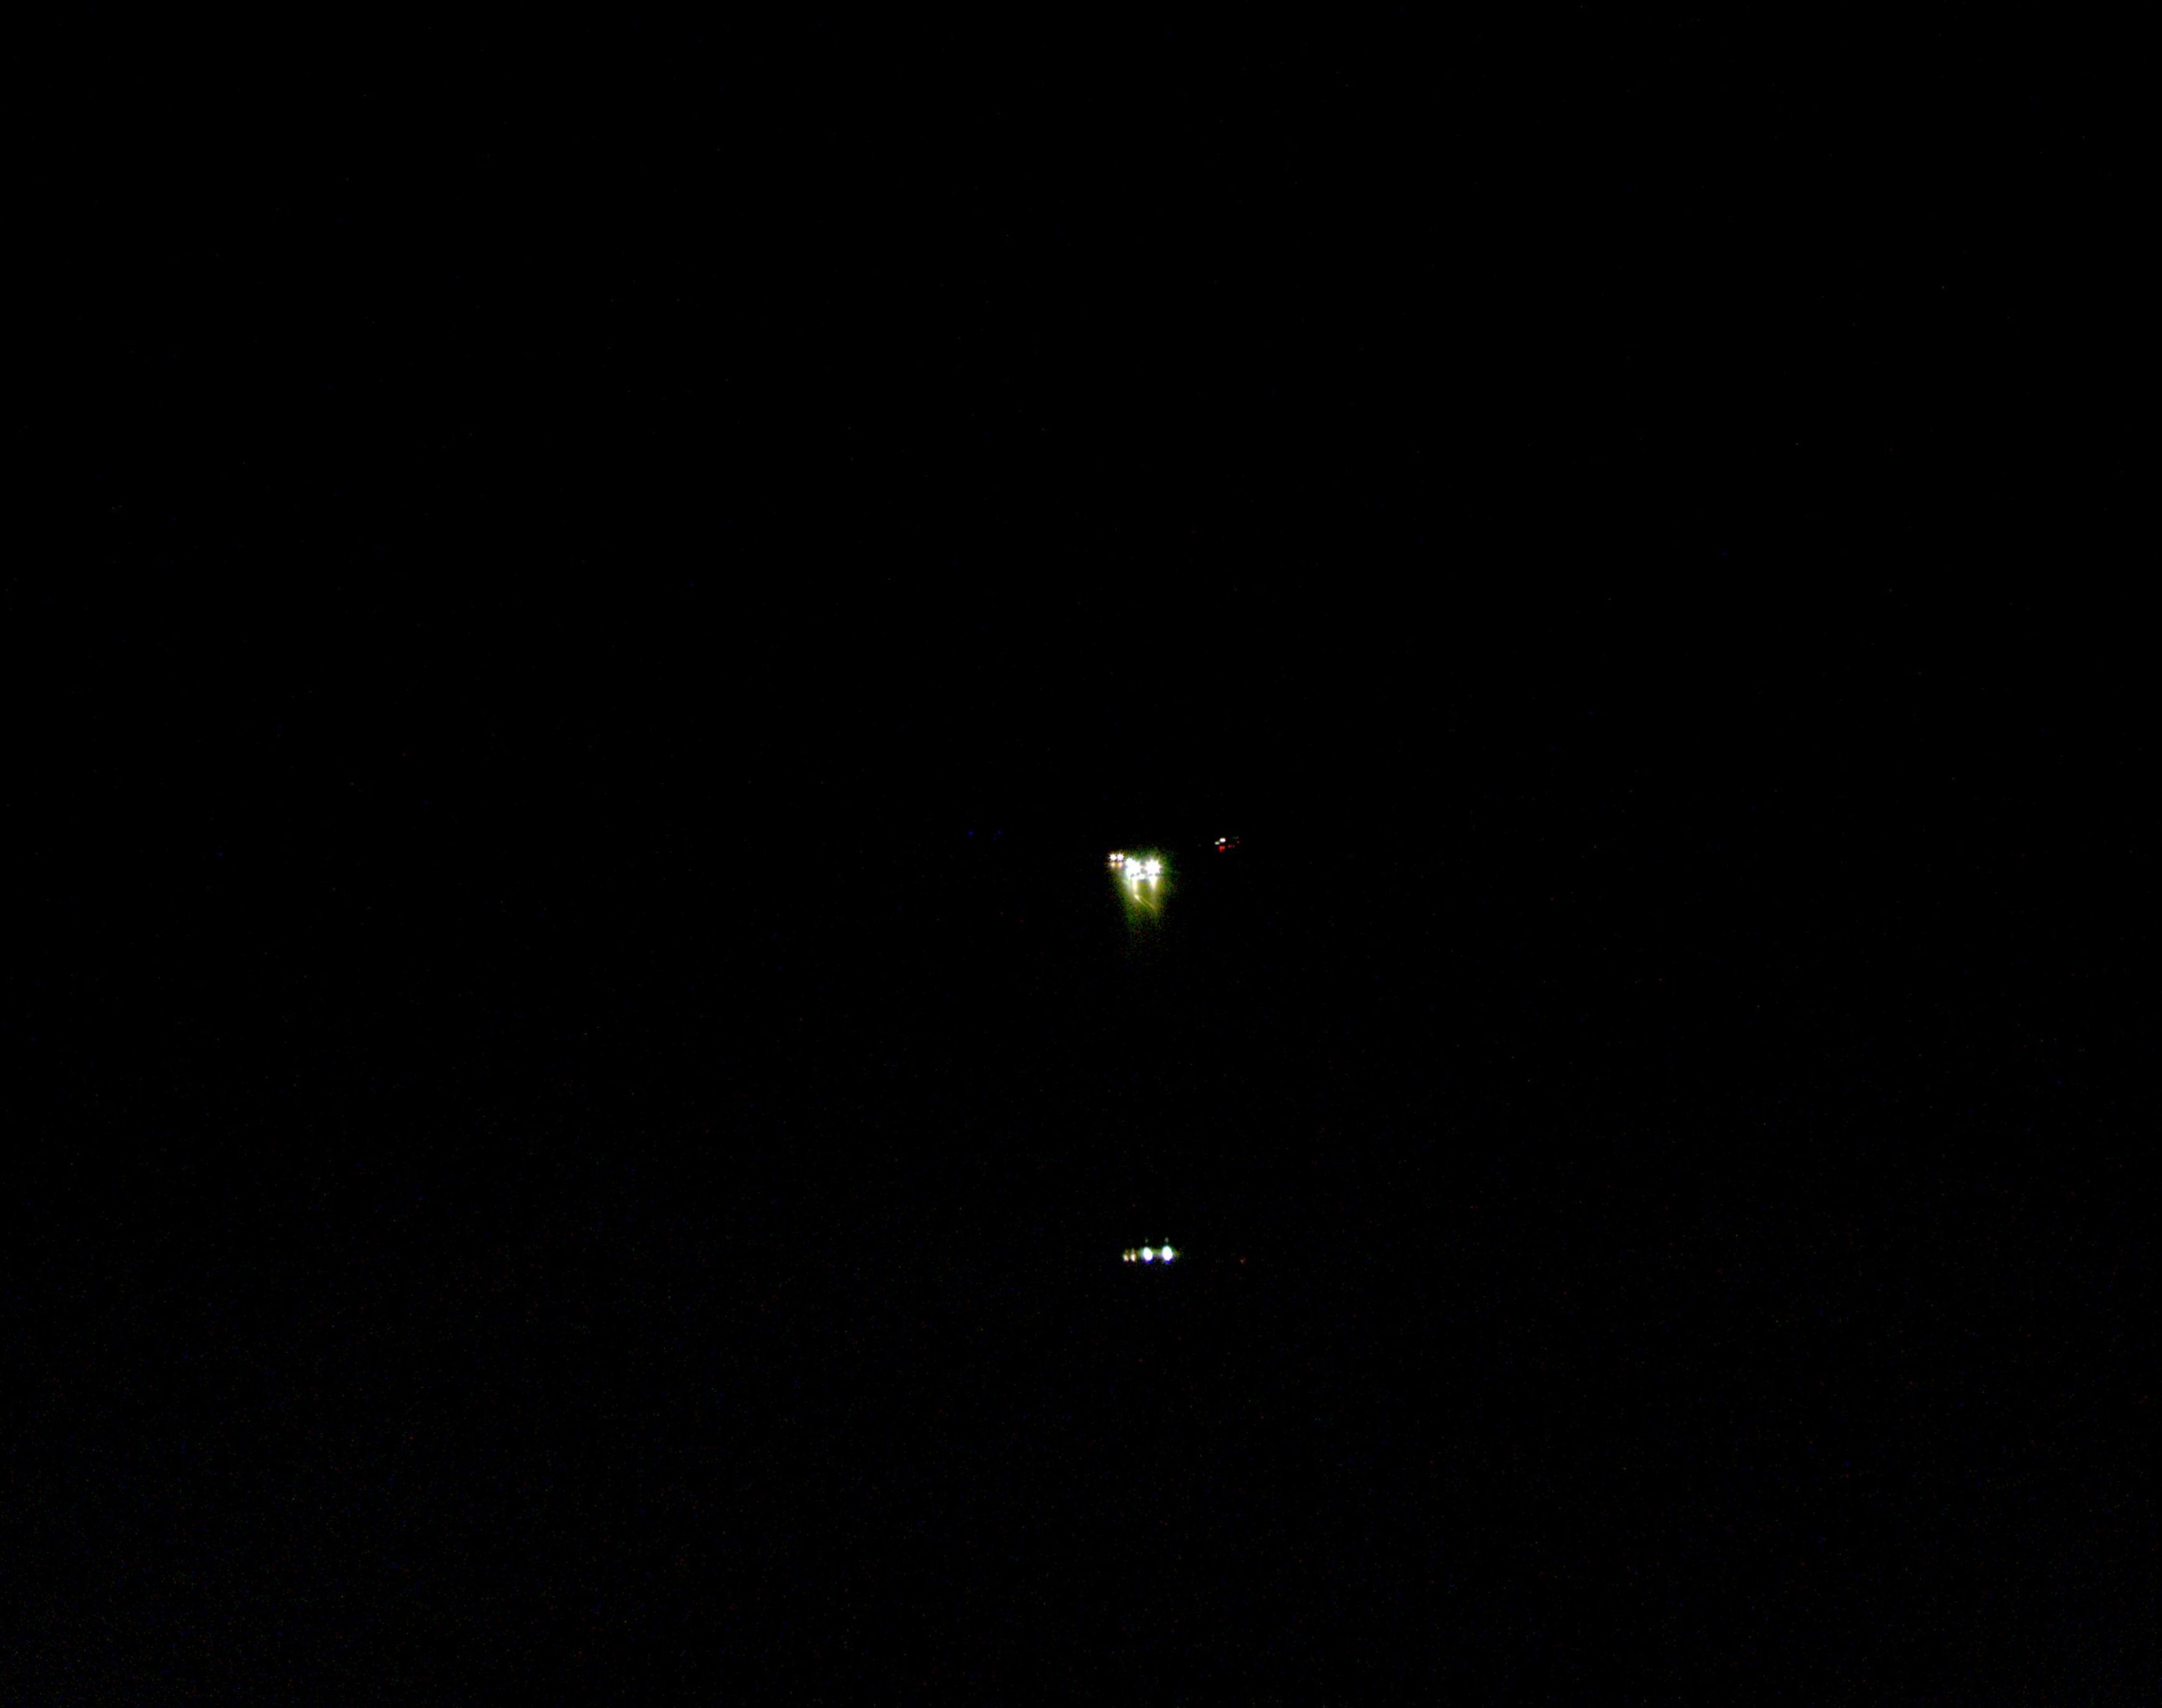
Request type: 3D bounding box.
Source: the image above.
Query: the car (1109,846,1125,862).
[{"bbox_3d":[7.452,-0.069,155.703,2.532,2.889,6.229,-2,2,8],"label":"car"}]

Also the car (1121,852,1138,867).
[{"bbox_3d":[5.710,0.614,89.288,1.998,1.456,4.000,-2,2,4],"label":"car"}]

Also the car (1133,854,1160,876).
[{"bbox_3d":[4.704,0.760,54.567,1.832,1.404,4.001,-2,0,4],"label":"car"}]
